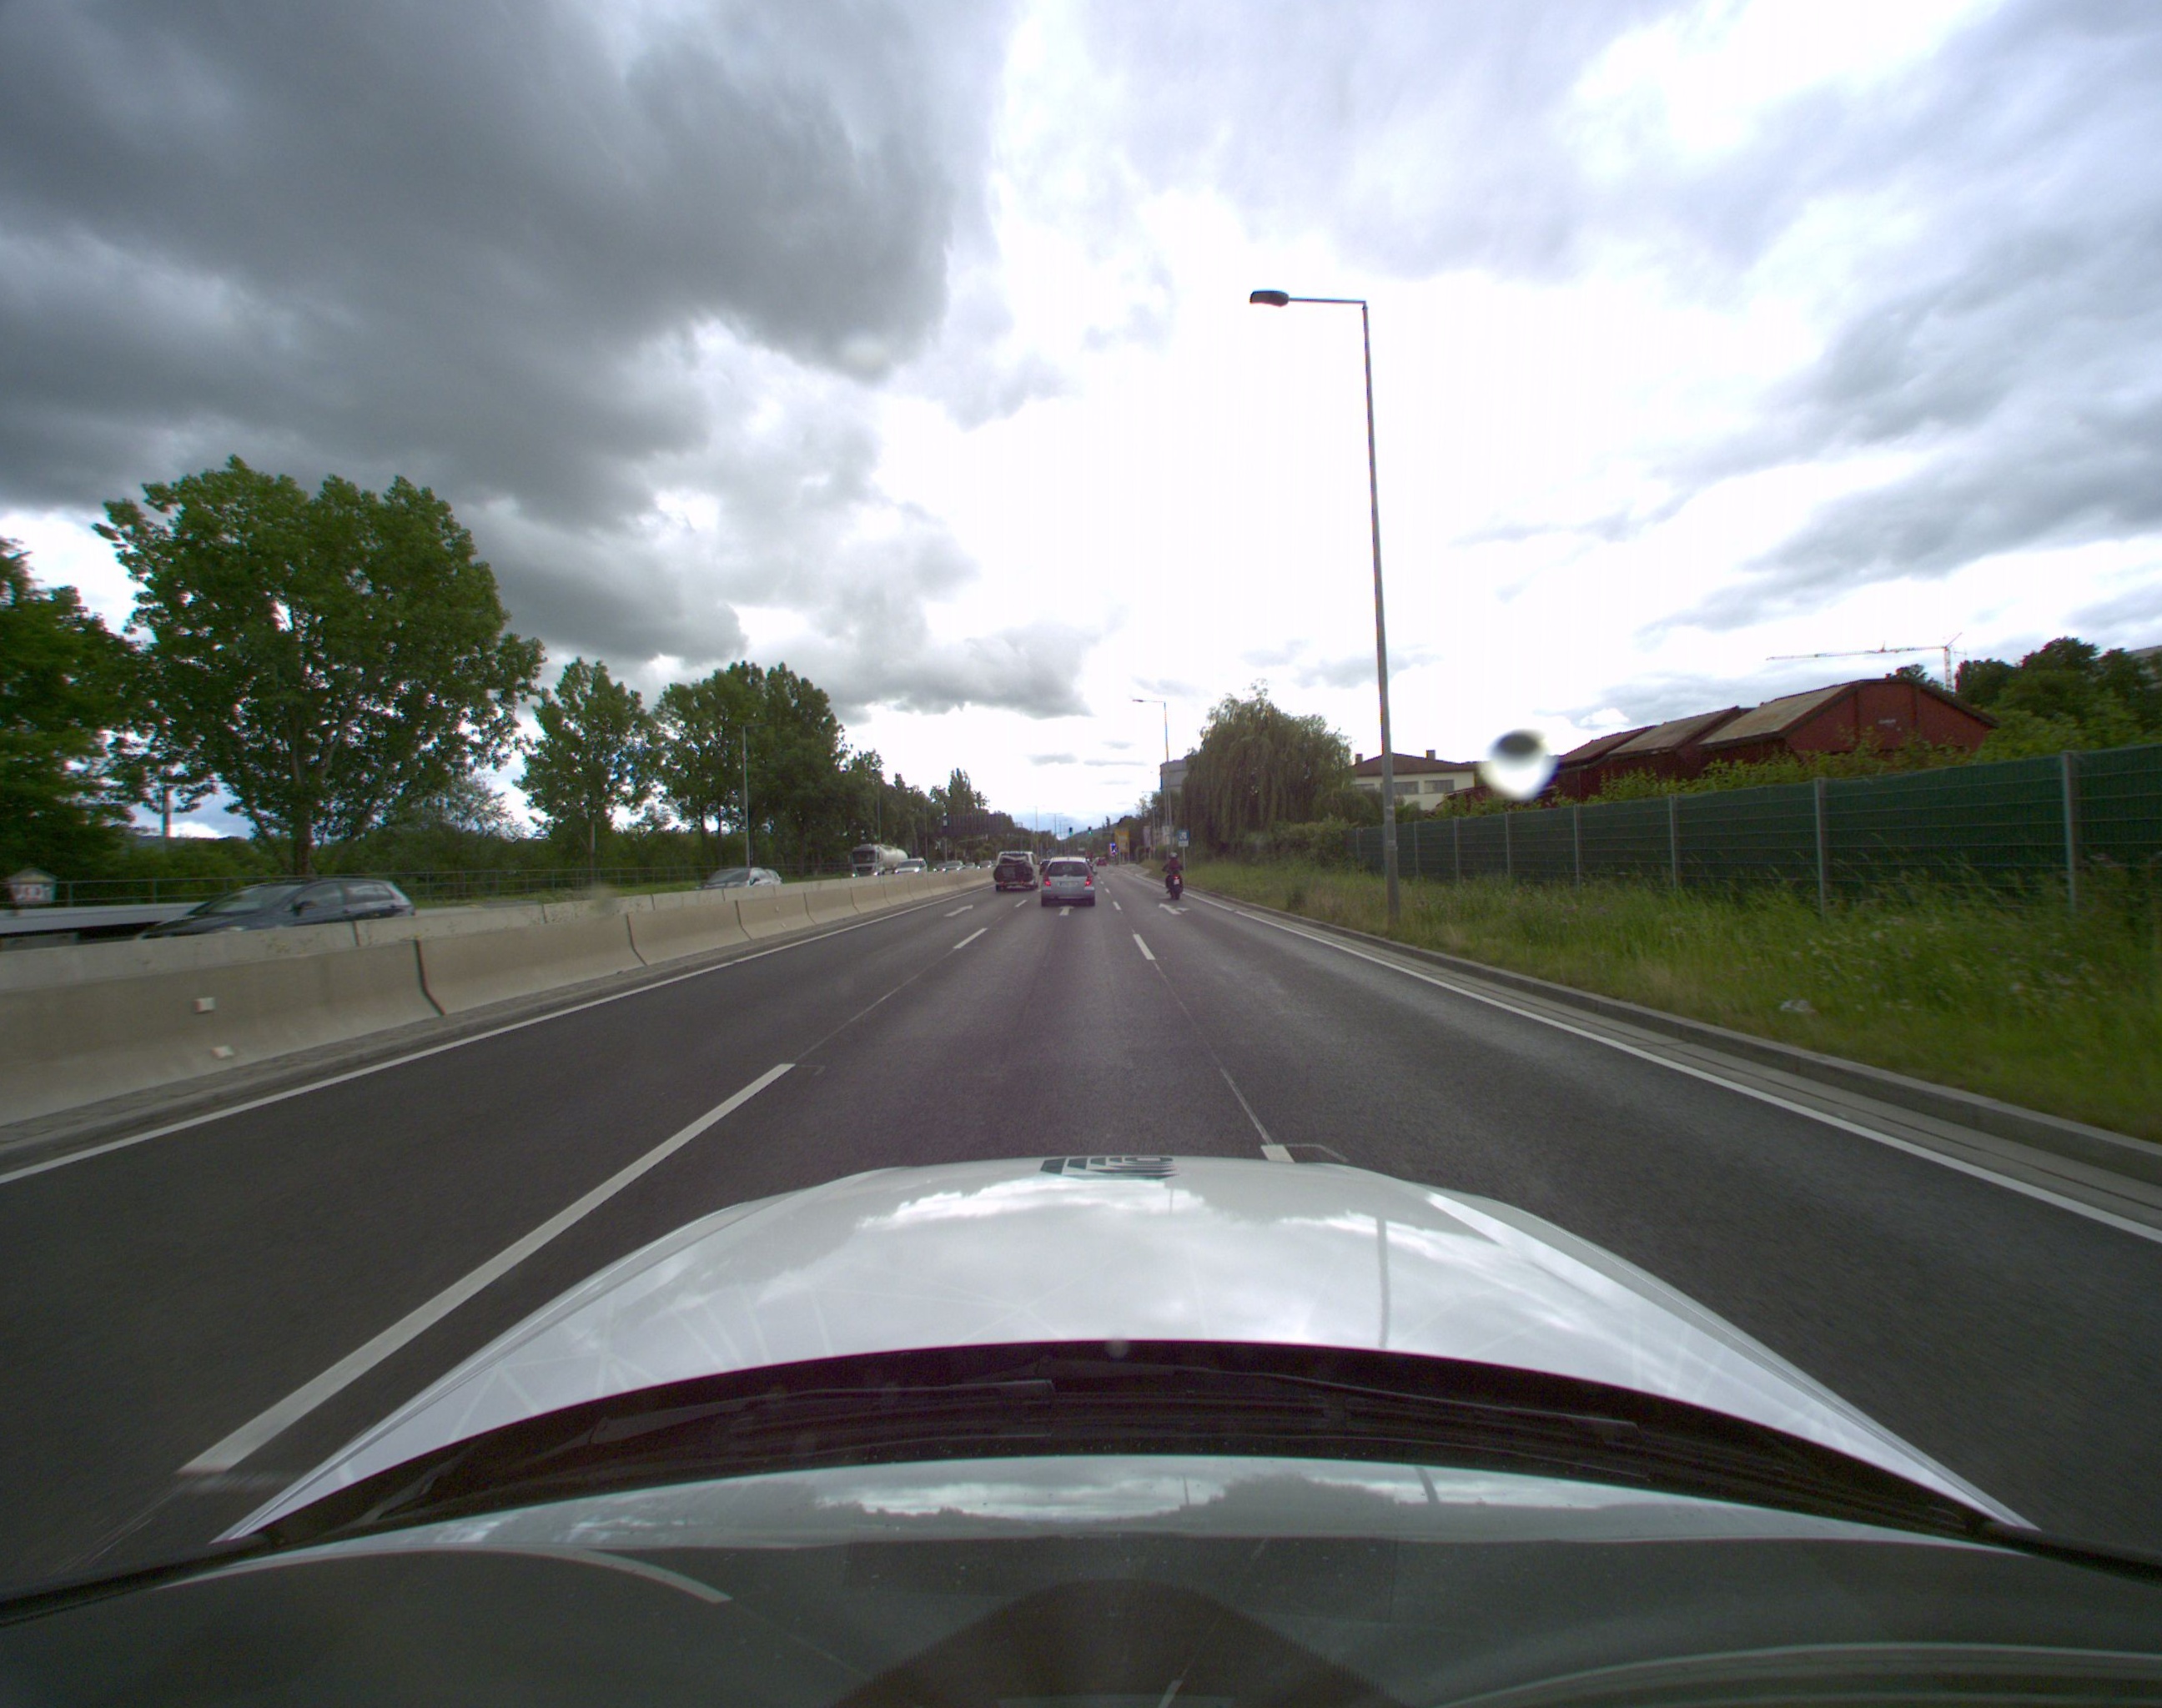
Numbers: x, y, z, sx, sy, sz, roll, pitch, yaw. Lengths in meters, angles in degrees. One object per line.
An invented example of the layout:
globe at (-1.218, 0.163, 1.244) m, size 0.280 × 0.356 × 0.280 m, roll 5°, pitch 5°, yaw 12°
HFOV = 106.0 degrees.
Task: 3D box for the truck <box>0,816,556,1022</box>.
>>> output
truck at (-17.703, 0.998, 17.309) m, size 2.845 × 3.107 × 15.881 m, roll 0°, pitch 0°, yaw 0°

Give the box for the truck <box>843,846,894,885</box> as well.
truck at (-18.567, 0.975, 71.388) m, size 3.089 × 3.219 × 5.389 m, roll 0°, pitch 0°, yaw -1°

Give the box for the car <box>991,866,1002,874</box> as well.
car at (-18.145, 3.417, 175.168) m, size 1.871 × 1.683 × 3.927 m, roll 0°, pitch 0°, yaw 0°

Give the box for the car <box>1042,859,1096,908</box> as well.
car at (-0.360, 0.924, 27.568) m, size 1.705 × 1.530 × 3.999 m, roll 0°, pitch 0°, yaw 0°

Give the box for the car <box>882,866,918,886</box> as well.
car at (-15.290, 1.835, 68.984) m, size 1.987 × 1.618 × 4.695 m, roll 0°, pitch 0°, yaw -1°

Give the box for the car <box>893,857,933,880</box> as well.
car at (-12.286, 1.038, 59.750) m, size 1.987 × 1.618 × 4.695 m, roll 0°, pitch 0°, yaw -1°

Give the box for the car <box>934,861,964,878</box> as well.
car at (-12.726, 1.483, 78.703) m, size 1.986 × 1.618 × 4.697 m, roll 0°, pitch 0°, yaw 1°

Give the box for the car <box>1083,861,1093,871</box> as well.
car at (1.567, 2.662, 181.440) m, size 1.987 × 2.014 × 4.000 m, roll 0°, pitch 0°, yaw 1°

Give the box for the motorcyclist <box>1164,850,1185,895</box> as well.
motorcyclist at (3.408, 0.664, 29.764) m, size 0.682 × 1.610 × 0.846 m, roll 0°, pitch -1°, yaw 2°

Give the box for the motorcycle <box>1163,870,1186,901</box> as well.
motorcycle at (3.405, 1.134, 29.785) m, size 0.703 × 1.040 × 2.028 m, roll 0°, pitch 0°, yaw 2°

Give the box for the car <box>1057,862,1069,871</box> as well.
car at (-3.225, 2.228, 146.053) m, size 1.987 × 1.552 × 3.999 m, roll 0°, pitch 0°, yaw -1°

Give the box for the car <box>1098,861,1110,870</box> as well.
car at (4.016, 2.013, 142.373) m, size 1.987 × 1.552 × 3.999 m, roll 0°, pitch 0°, yaw -1°

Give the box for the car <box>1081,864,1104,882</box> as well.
car at (0.964, 1.573, 69.410) m, size 1.834 × 1.464 × 4.000 m, roll 0°, pitch 0°, yaw 0°

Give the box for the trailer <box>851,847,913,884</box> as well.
trailer at (-18.589, 0.997, 77.068) m, size 3.091 × 3.220 × 11.665 m, roll 0°, pitch 0°, yaw 0°

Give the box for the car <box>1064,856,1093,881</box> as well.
car at (-0.133, 0.968, 55.532) m, size 1.901 × 1.684 × 4.000 m, roll 0°, pitch 0°, yaw 1°

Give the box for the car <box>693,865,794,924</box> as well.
car at (-11.730, 1.346, 28.602) m, size 1.810 × 1.904 × 4.000 m, roll 0°, pitch 0°, yaw 1°

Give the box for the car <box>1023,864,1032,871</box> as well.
car at (-12.504, 3.094, 189.950) m, size 1.871 × 1.683 × 4.125 m, roll 0°, pitch 0°, yaw 0°

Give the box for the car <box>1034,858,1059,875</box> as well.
car at (-3.205, 1.163, 76.897) m, size 1.985 × 1.552 × 4.003 m, roll 0°, pitch 0°, yaw 3°

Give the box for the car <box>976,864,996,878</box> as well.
car at (-12.457, 2.169, 106.958) m, size 1.986 × 1.739 × 4.000 m, roll 0°, pitch 0°, yaw 1°

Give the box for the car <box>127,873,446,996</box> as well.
car at (-14.270, 1.328, 15.048) m, size 1.810 × 1.877 × 4.101 m, roll 0°, pitch 0°, yaw 1°

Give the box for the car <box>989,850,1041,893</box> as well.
car at (-3.136, 0.813, 39.809) m, size 2.208 × 1.926 × 4.999 m, roll 0°, pitch 0°, yaw -1°
